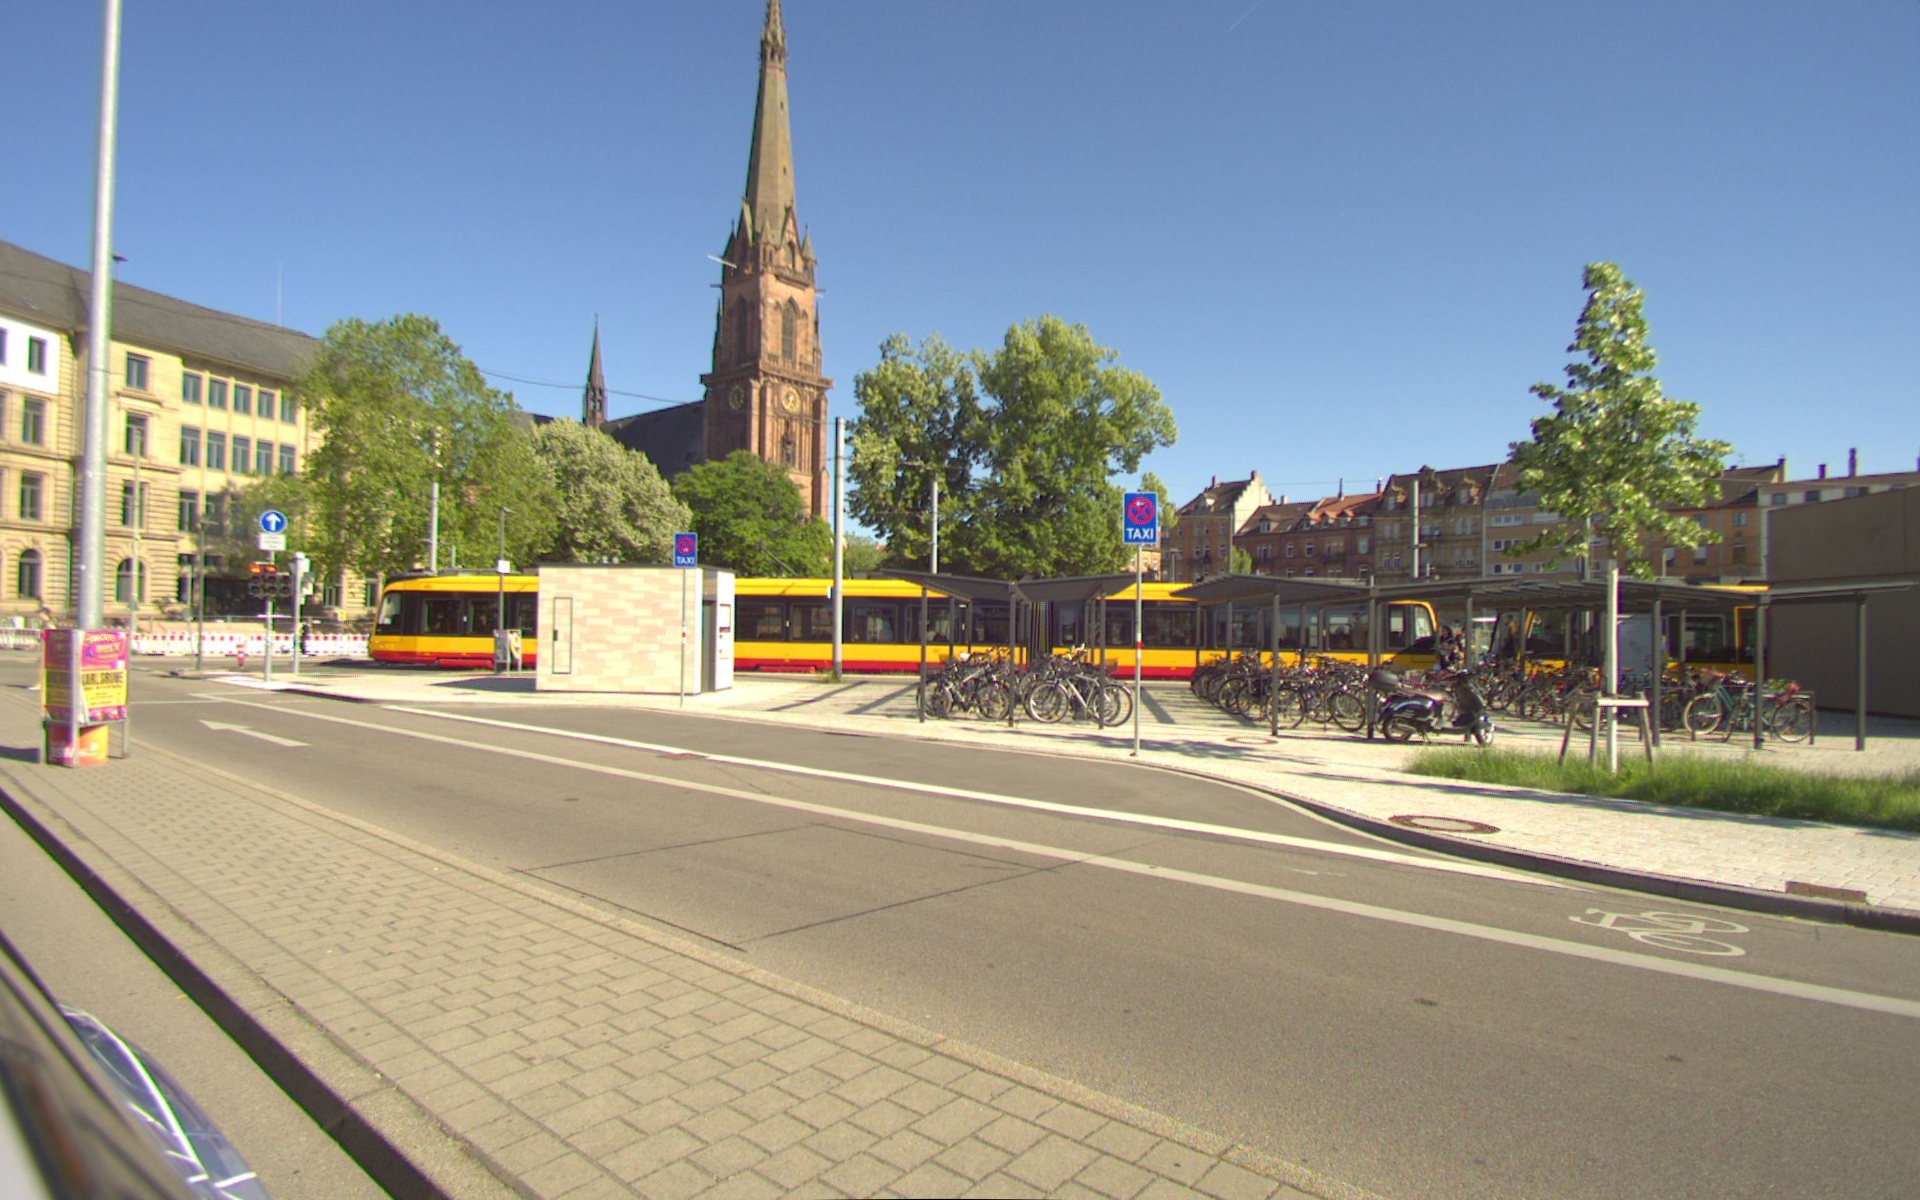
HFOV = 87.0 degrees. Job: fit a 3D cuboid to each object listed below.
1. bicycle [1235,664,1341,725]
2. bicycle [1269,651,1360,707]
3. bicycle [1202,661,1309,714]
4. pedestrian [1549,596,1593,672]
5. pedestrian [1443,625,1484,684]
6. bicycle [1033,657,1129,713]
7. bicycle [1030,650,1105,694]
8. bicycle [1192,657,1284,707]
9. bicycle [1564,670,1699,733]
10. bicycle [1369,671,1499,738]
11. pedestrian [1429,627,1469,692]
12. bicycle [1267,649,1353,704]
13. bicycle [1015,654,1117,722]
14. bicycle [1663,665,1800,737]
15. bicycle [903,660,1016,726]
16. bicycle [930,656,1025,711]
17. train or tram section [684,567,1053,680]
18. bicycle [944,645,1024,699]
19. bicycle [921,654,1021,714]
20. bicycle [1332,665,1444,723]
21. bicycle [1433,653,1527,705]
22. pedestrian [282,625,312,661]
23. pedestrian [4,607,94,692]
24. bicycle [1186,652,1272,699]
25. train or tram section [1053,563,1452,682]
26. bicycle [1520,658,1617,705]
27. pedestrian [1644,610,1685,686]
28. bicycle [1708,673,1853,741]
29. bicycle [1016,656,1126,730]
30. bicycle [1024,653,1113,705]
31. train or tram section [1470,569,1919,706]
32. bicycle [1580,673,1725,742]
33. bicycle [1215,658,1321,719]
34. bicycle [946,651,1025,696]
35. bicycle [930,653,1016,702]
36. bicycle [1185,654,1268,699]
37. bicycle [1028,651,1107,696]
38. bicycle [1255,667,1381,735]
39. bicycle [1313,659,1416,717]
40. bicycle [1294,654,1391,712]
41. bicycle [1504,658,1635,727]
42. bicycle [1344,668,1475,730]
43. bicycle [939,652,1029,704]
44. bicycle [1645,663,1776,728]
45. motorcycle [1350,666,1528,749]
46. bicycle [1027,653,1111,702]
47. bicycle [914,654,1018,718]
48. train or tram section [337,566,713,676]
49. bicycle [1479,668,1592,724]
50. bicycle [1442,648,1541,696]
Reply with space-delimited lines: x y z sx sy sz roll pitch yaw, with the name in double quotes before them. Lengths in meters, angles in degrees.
"bicycle" 5.854 1.685 18.135 1.731 1.015 0.547 0 -2 10
"bicycle" 7.929 1.767 22.682 1.808 1.198 0.647 0 -2 7
"bicycle" 5.950 1.760 20.434 1.978 1.015 0.628 0 -2 4
"pedestrian" 15.384 0.843 25.481 0.700 1.869 0.751 2 -2 -38
"pedestrian" 17.665 1.902 35.513 0.997 2.029 0.872 0 -2 0
"bicycle" 2.322 1.635 19.544 1.808 1.015 0.745 0 -2 7
"bicycle" 2.633 1.758 24.812 1.808 1.015 0.627 0 -2 7
"bicycle" 5.970 1.756 21.809 1.805 1.015 0.629 0 -2 0
"bicycle" 11.604 1.741 17.529 1.872 1.004 0.499 0 -2 13
"bicycle" 7.769 1.704 16.654 1.808 1.015 0.627 0 -2 7
"pedestrian" 12.739 1.545 26.366 0.762 1.672 0.604 0 -2 4
"bicycle" 8.237 1.784 23.879 1.808 1.242 0.627 0 -2 7
"bicycle" 1.910 1.577 18.279 1.808 1.157 0.627 0 -2 7
"bicycle" 12.992 1.687 17.068 1.805 1.155 0.629 0 -2 0
"bicycle" 0.007 1.583 17.377 1.847 1.015 0.699 2 -2 9
"bicycle" 0.362 1.635 19.988 1.809 1.015 0.627 0 -2 9
"train or tram section" -2.969 0.770 34.441 12.174 3.628 2.796 0 -2 6
"bicycle" 0.563 1.646 23.418 1.809 1.188 0.627 0 -2 9
"bicycle" 0.214 1.543 18.768 1.809 1.059 0.571 0 -2 9
"bicycle" 8.001 1.748 18.974 1.808 1.015 0.627 0 -2 7
"bicycle" 12.001 1.814 23.406 1.809 1.140 0.627 0 -2 9
"pedestrian" -32.256 2.100 49.258 0.920 1.754 0.807 1 -2 -8
"pedestrian" -20.558 1.096 22.861 0.821 1.869 1.221 0 -2 20
"bicycle" 6.122 1.721 23.114 1.807 1.015 0.628 0 -2 5
"train or tram section" 9.178 0.706 33.163 12.174 3.628 2.828 0 -2 6
"bicycle" 14.053 1.880 23.409 1.808 1.015 0.627 0 -2 7
"pedestrian" 17.720 1.198 25.451 0.595 1.869 0.683 2 -2 -38
"bicycle" 13.021 1.694 16.080 1.803 1.015 0.629 1 -2 -3
"bicycle" 1.866 1.556 17.136 1.808 1.167 0.627 1 -2 7
"bicycle" 2.230 1.609 20.852 1.808 1.015 0.627 0 -2 7
"train or tram section" 21.453 1.019 28.699 12.179 3.628 2.748 0 -2 7
"bicycle" 11.160 1.722 16.352 1.809 1.015 0.627 0 -2 9
"bicycle" 5.877 1.682 19.413 1.859 1.101 0.626 0 -2 8
"bicycle" 0.620 1.750 24.117 1.809 1.015 0.627 0 -2 9
"bicycle" 0.290 1.690 22.174 1.809 1.015 0.627 0 -2 9
"bicycle" 6.252 1.785 23.802 1.808 1.015 0.627 0 -2 6
"bicycle" 2.511 1.702 23.612 1.808 1.015 0.627 0 -2 7
"bicycle" 5.978 1.676 16.982 1.871 1.050 0.688 0 -2 9
"bicycle" 8.075 1.746 20.265 1.808 1.088 0.627 0 -2 7
"bicycle" 8.112 1.745 21.531 1.808 1.170 0.627 0 -2 7
"bicycle" 11.298 1.703 18.804 2.029 1.218 0.505 0 -2 8
"bicycle" 7.920 1.730 17.880 2.003 1.015 0.627 0 -2 7
"bicycle" 0.513 1.615 21.143 1.809 1.015 0.627 0 -2 9
"bicycle" 13.591 1.716 18.363 1.808 1.101 0.627 0 -2 7
"motorcycle" 7.169 1.603 15.237 2.333 1.167 0.610 0 -2 7
"bicycle" 2.378 1.687 22.126 1.808 1.015 0.627 0 -2 7
"bicycle" 0.117 1.538 18.240 1.809 1.074 0.627 0 -2 9
"train or tram section" -15.210 0.714 35.722 12.382 3.628 2.796 0 -2 6
"bicycle" 11.263 1.872 19.844 1.809 1.015 0.627 0 -2 9
"bicycle" 11.688 1.576 22.310 1.809 1.015 0.627 0 -2 9
